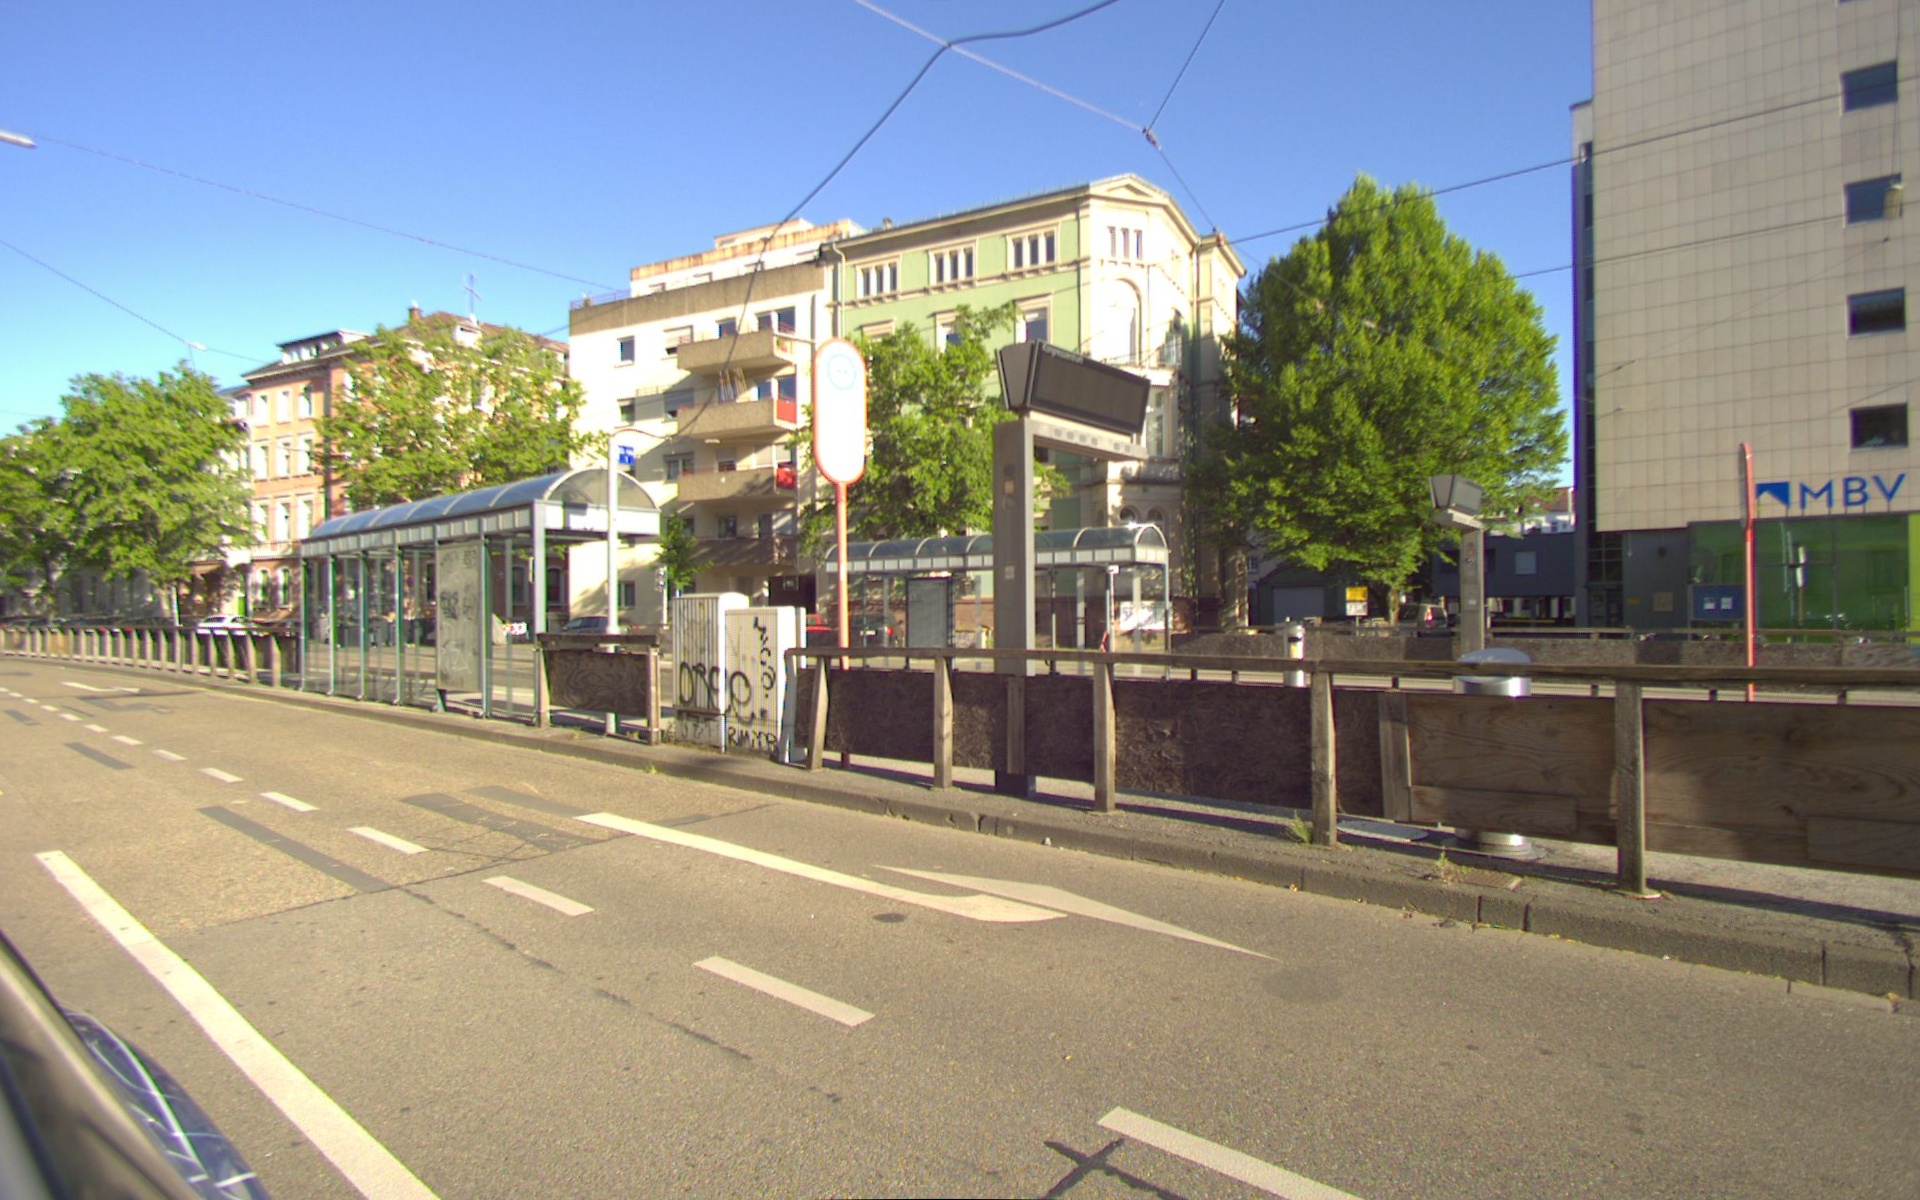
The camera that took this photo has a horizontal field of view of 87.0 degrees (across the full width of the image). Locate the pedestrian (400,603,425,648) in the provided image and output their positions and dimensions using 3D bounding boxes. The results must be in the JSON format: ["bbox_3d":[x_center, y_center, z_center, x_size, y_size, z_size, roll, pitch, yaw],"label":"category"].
[{"bbox_3d":[-27.136,1.266,50.194,0.753,2.224,0.804,-1,-2,30],"label":"pedestrian"}]

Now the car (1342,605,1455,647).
[{"bbox_3d":[15.763,0.892,36.500,1.544,1.423,3.430,-1,0,-38],"label":"car"}]

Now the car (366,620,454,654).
[{"bbox_3d":[-23.755,1.582,43.683,3.986,1.407,1.592,-1,-2,32],"label":"car"}]

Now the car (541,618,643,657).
[{"bbox_3d":[-14.023,1.411,38.529,3.725,1.438,1.637,-1,-1,29],"label":"car"}]

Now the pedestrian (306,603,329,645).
[{"bbox_3d":[-34.179,1.269,53.837,0.755,2.224,0.803,-1,-2,36],"label":"pedestrian"}]

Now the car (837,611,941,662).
[{"bbox_3d":[-2.280,1.171,33.486,1.754,1.594,3.965,-1,-1,26],"label":"car"}]

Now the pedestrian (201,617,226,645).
[{"bbox_3d":[-44.333,1.859,60.104,0.887,1.641,0.861,-1,-2,25],"label":"pedestrian"}]

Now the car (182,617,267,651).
[{"bbox_3d":[-39.371,1.801,54.305,1.825,1.721,4.130,0,-1,-5],"label":"car"}]

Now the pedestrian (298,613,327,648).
[{"bbox_3d":[-32.102,1.514,50.180,1.016,1.733,0.846,-1,-2,32],"label":"pedestrian"}]

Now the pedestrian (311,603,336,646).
[{"bbox_3d":[-33.190,1.257,52.774,0.753,2.224,0.804,-1,-2,30],"label":"pedestrian"}]

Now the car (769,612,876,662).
[{"bbox_3d":[-4.634,1.233,34.579,1.754,1.594,3.965,-1,-1,26],"label":"car"}]

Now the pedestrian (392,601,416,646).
[{"bbox_3d":[-27.891,1.188,50.780,0.753,2.224,0.804,-1,-2,30],"label":"pedestrian"}]
